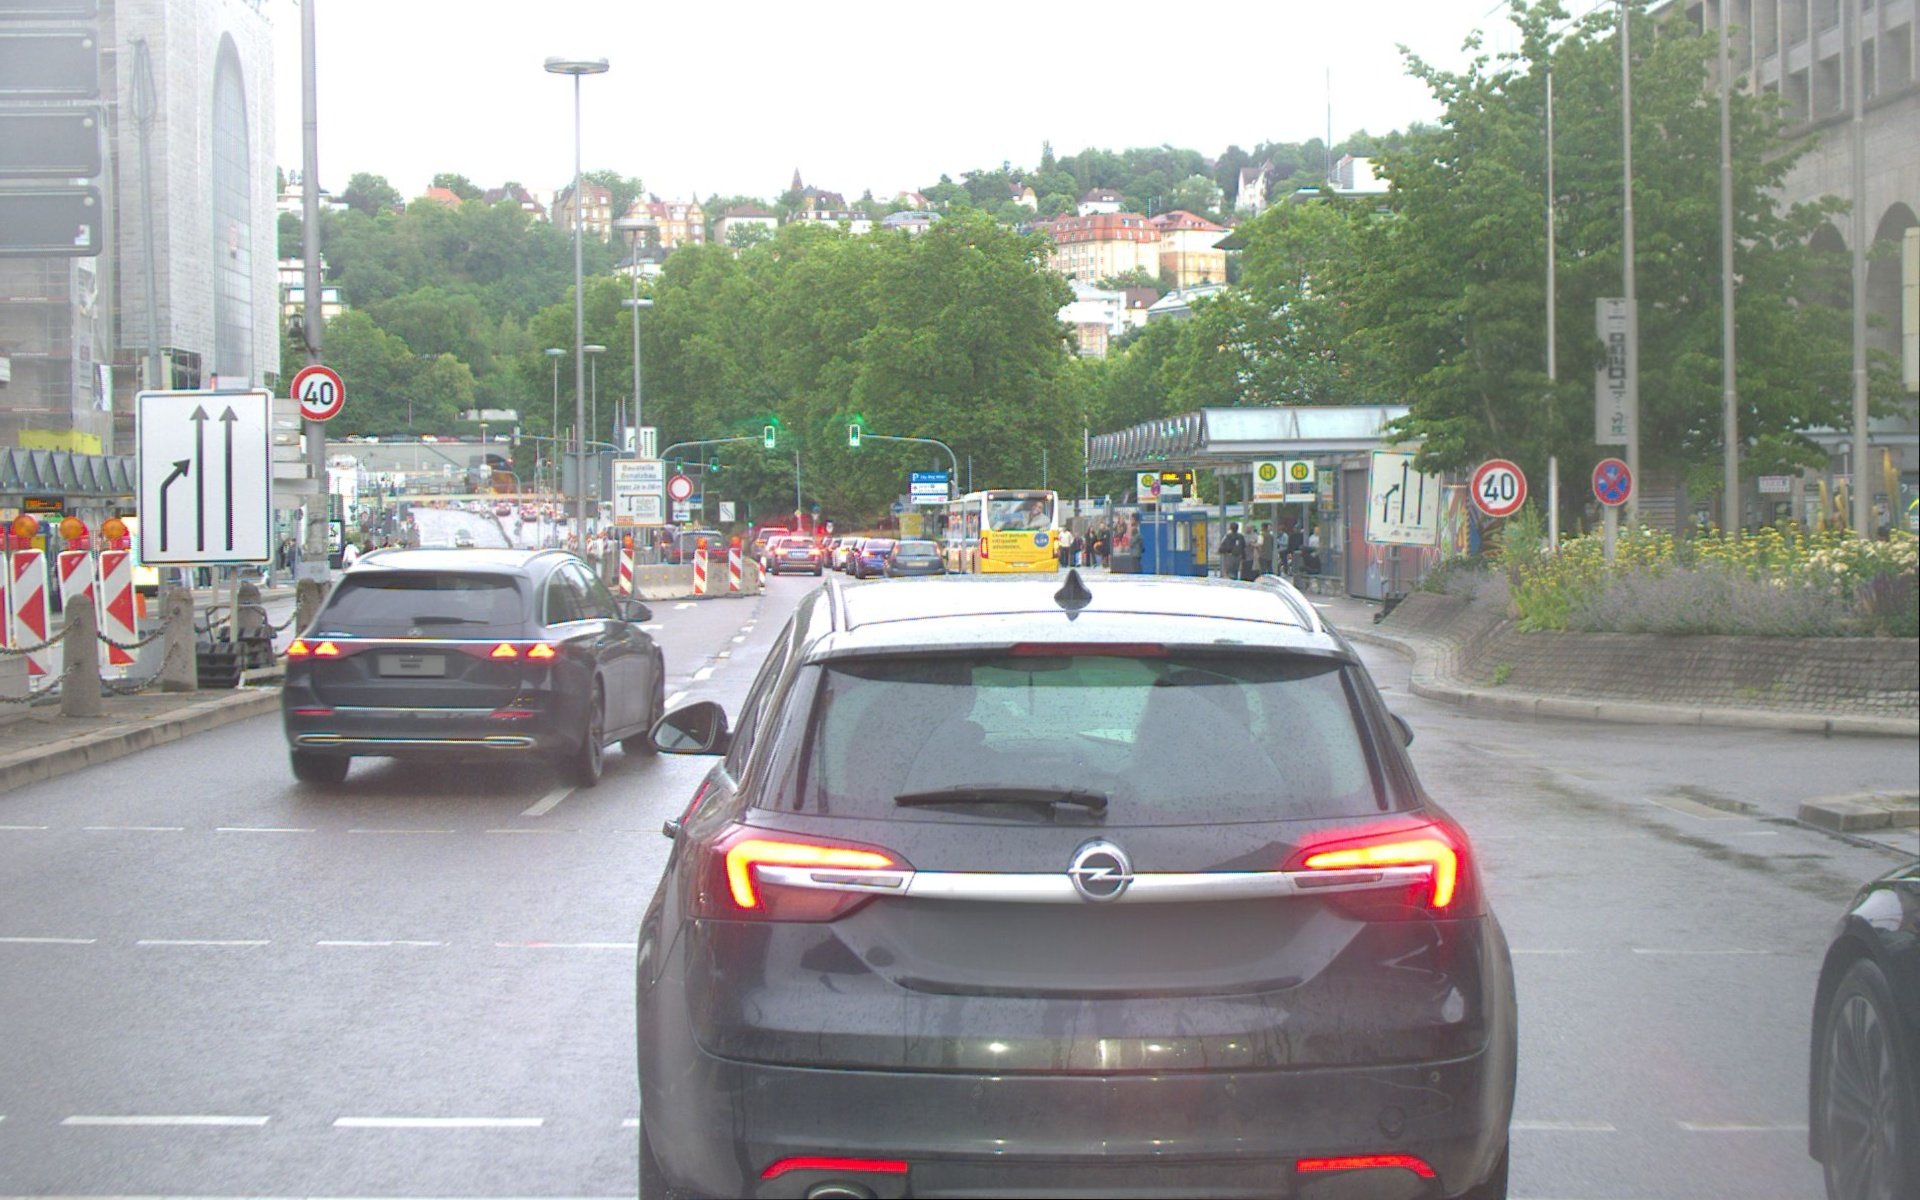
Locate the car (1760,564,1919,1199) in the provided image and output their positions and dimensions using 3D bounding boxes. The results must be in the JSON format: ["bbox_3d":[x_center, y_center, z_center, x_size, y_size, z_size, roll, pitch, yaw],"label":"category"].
[{"bbox_3d":[2.725,0.702,5.224,1.793,1.496,4.629,1,0,-2],"label":"car"}]

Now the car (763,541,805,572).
[{"bbox_3d":[-8.081,-2.003,158.256,1.759,1.393,3.564,1,0,-1],"label":"car"}]

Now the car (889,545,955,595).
[{"bbox_3d":[-1.089,-0.849,98.051,1.845,1.393,3.667,1,0,-1],"label":"car"}]

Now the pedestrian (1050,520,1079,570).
[{"bbox_3d":[4.545,-2.387,149.646,1.199,2.141,1.228,1,0,1],"label":"pedestrian"}]

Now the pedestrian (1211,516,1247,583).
[{"bbox_3d":[6.864,-1.280,87.772,0.763,1.684,0.825,1,0,-5],"label":"pedestrian"}]

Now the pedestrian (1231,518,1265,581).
[{"bbox_3d":[7.731,-1.351,92.279,0.763,1.684,0.825,1,0,-5],"label":"pedestrian"}]

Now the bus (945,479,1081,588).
[{"bbox_3d":[1.672,-2.169,117.661,4.173,3.457,14.654,1,0,-1],"label":"bus"}]

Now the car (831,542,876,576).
[{"bbox_3d":[-4.507,-1.737,145.935,1.845,1.393,3.564,1,1,-1],"label":"car"}]

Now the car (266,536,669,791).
[{"bbox_3d":[-3.079,0.360,22.411,1.855,1.464,4.587,1,0,1],"label":"car"}]

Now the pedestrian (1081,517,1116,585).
[{"bbox_3d":[5.068,-1.783,125.524,1.199,2.427,1.228,1,0,1],"label":"pedestrian"}]

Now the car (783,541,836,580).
[{"bbox_3d":[-5.588,-1.457,128.101,1.845,1.393,3.564,1,0,-1],"label":"car"}]

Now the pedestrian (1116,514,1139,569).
[{"bbox_3d":[5.183,-1.820,106.364,0.657,1.684,0.609,1,0,0],"label":"pedestrian"}]

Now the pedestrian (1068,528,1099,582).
[{"bbox_3d":[5.002,-1.829,139.061,1.199,2.141,1.228,1,0,1],"label":"pedestrian"}]

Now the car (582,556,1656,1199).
[{"bbox_3d":[0.239,0.667,8.051,1.874,1.481,4.000,1,0,-1],"label":"car"}]

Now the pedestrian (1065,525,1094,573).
[{"bbox_3d":[5.346,-2.289,153.965,1.199,2.141,1.228,1,0,1],"label":"pedestrian"}]

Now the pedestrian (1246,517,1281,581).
[{"bbox_3d":[8.040,-1.341,91.198,0.763,1.684,0.825,1,0,-5],"label":"pedestrian"}]
